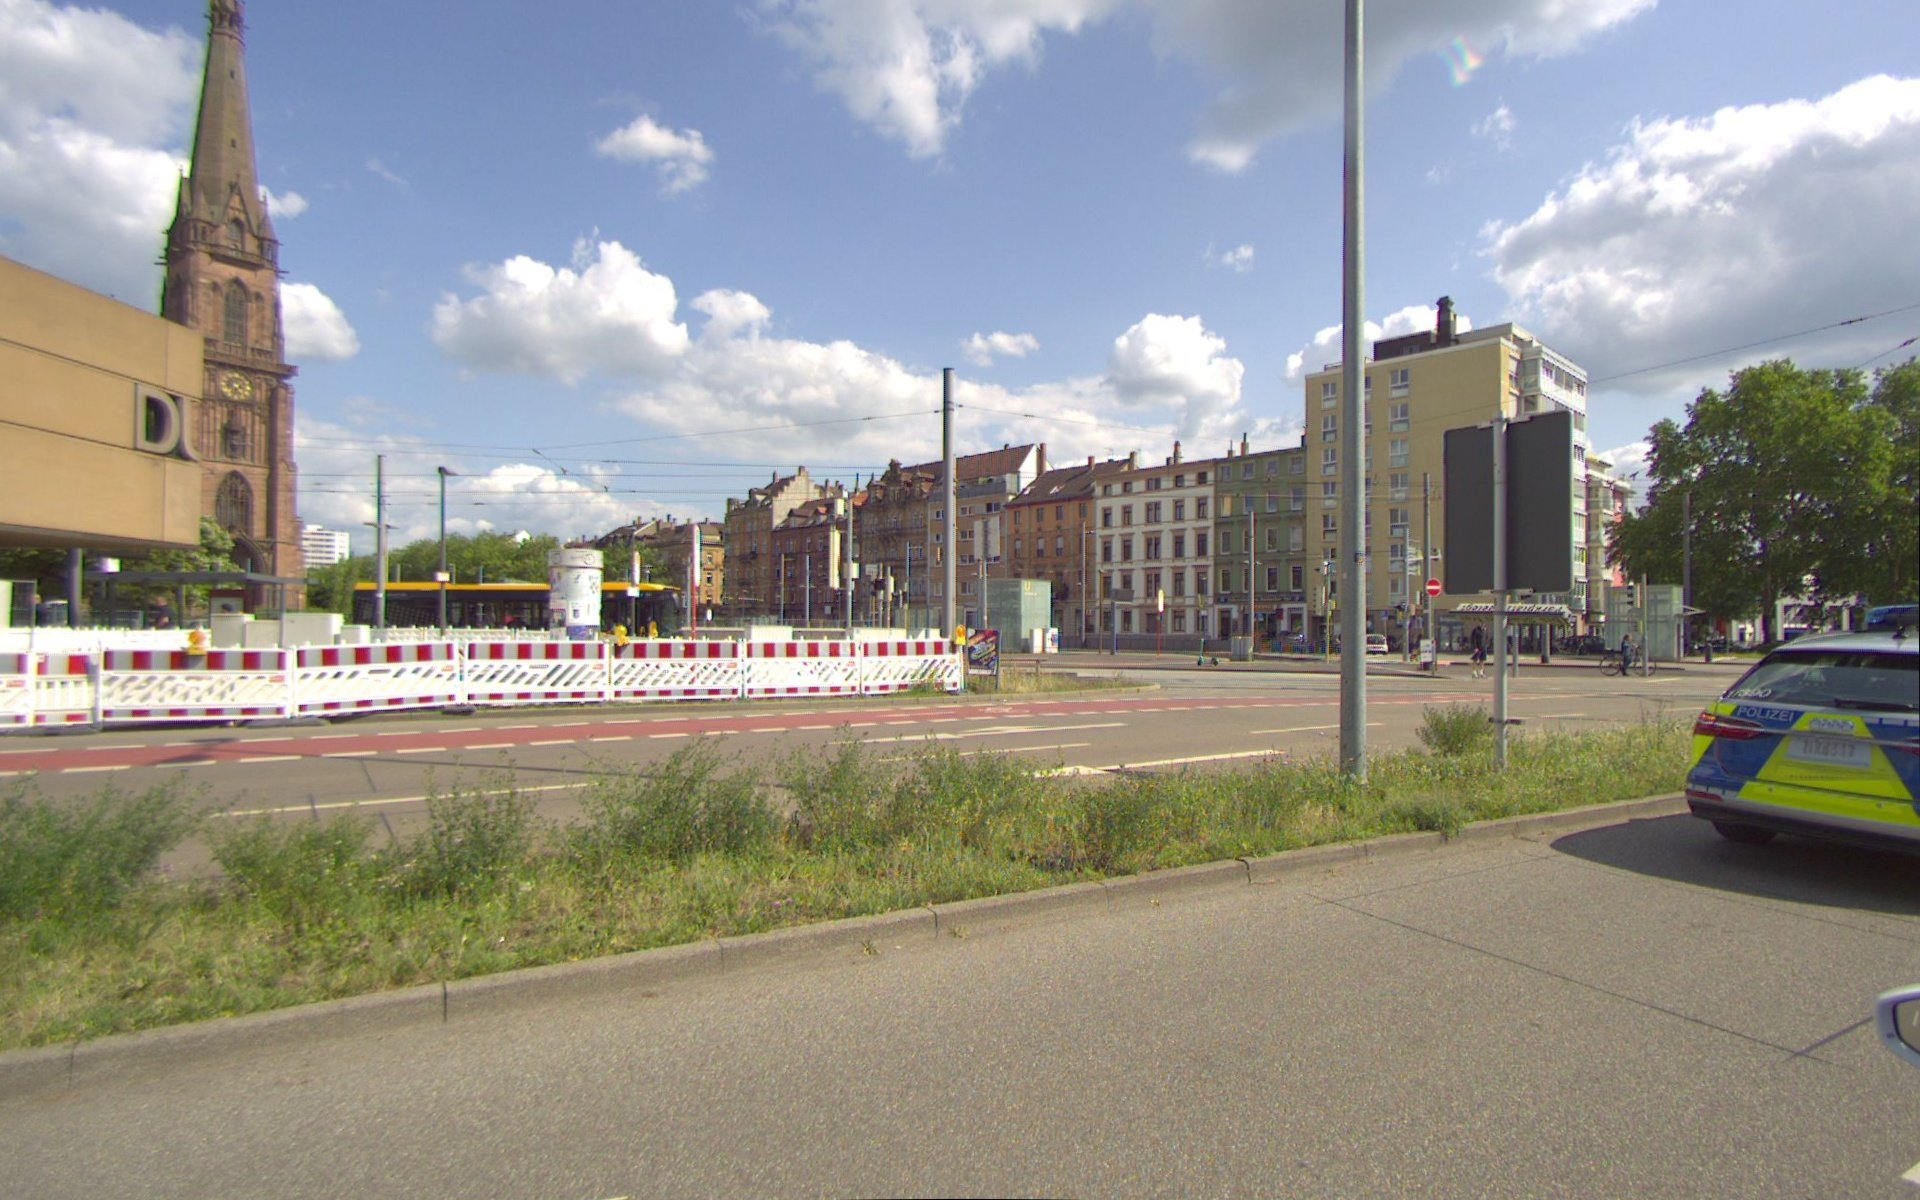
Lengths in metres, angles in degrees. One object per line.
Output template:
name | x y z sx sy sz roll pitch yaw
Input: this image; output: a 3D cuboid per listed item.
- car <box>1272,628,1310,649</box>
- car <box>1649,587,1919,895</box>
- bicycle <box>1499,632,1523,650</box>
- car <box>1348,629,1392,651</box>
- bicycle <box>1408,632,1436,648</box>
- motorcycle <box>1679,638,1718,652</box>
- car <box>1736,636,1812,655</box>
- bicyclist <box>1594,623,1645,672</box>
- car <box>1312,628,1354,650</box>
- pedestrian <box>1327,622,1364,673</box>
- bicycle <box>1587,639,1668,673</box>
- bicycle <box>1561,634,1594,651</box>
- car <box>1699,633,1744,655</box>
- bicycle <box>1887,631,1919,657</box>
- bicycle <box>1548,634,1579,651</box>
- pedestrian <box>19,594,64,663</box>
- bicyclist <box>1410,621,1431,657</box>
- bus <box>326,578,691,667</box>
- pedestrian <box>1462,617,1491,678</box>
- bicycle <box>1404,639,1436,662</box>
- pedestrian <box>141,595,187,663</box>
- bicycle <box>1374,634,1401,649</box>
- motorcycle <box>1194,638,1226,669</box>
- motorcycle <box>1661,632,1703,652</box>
car | 25.034 2.928 76.114 1.861 1.516 3.902 1 -2 4
car | 6.771 0.782 6.624 4.559 1.589 1.872 1 -2 -29
bicycle | 40.600 3.030 73.999 1.791 1.275 0.789 1 -1 -34
car | 29.571 2.890 72.483 1.861 1.516 3.903 1 -2 5
bicycle | 35.527 3.069 77.267 1.783 1.118 0.792 0 -1 42
motorcycle | 50.314 3.050 68.459 2.003 0.929 0.812 -1 -1 7
car | 58.917 3.273 72.785 1.615 1.344 3.967 3 -3 -31
bicyclist | 24.355 1.749 37.103 0.984 1.753 1.290 2 -2 -32
car | 27.217 2.869 73.455 1.861 1.516 3.902 1 -2 4
pedestrian | 14.267 1.759 37.173 1.015 1.821 0.762 2 0 -27
bicycle | 24.485 2.045 36.883 0.984 1.204 2.281 2 -3 -32
bicycle | 44.677 3.091 72.721 1.922 1.162 0.792 0 -1 43
car | 55.309 3.199 72.905 3.971 1.432 1.888 4 -4 -42
bicycle | 54.332 2.531 57.264 0.807 1.433 2.146 1 0 -44
bicycle | 43.439 3.034 72.302 1.784 1.162 0.792 0 -1 43
pedestrian | -22.533 0.704 24.656 0.760 1.653 0.645 2 -2 -41
bicyclist | 24.365 2.055 53.152 0.768 1.821 0.706 2 0 42
bus | -16.968 0.876 38.287 12.586 3.177 2.835 0 -1 1
pedestrian | 16.746 1.533 32.554 0.753 1.928 0.825 2 0 29
bicycle | 24.321 2.667 53.115 0.877 1.153 2.345 2 0 41
pedestrian | -19.576 0.712 24.705 0.549 1.651 0.732 1 -1 -7
bicycle | 33.665 3.235 79.132 1.783 1.118 0.792 0 -1 42
motorcycle | 10.497 2.238 42.233 0.478 1.253 1.437 2 -2 -27
motorcycle | 46.735 2.730 65.050 0.890 1.254 2.214 0 -1 -12
